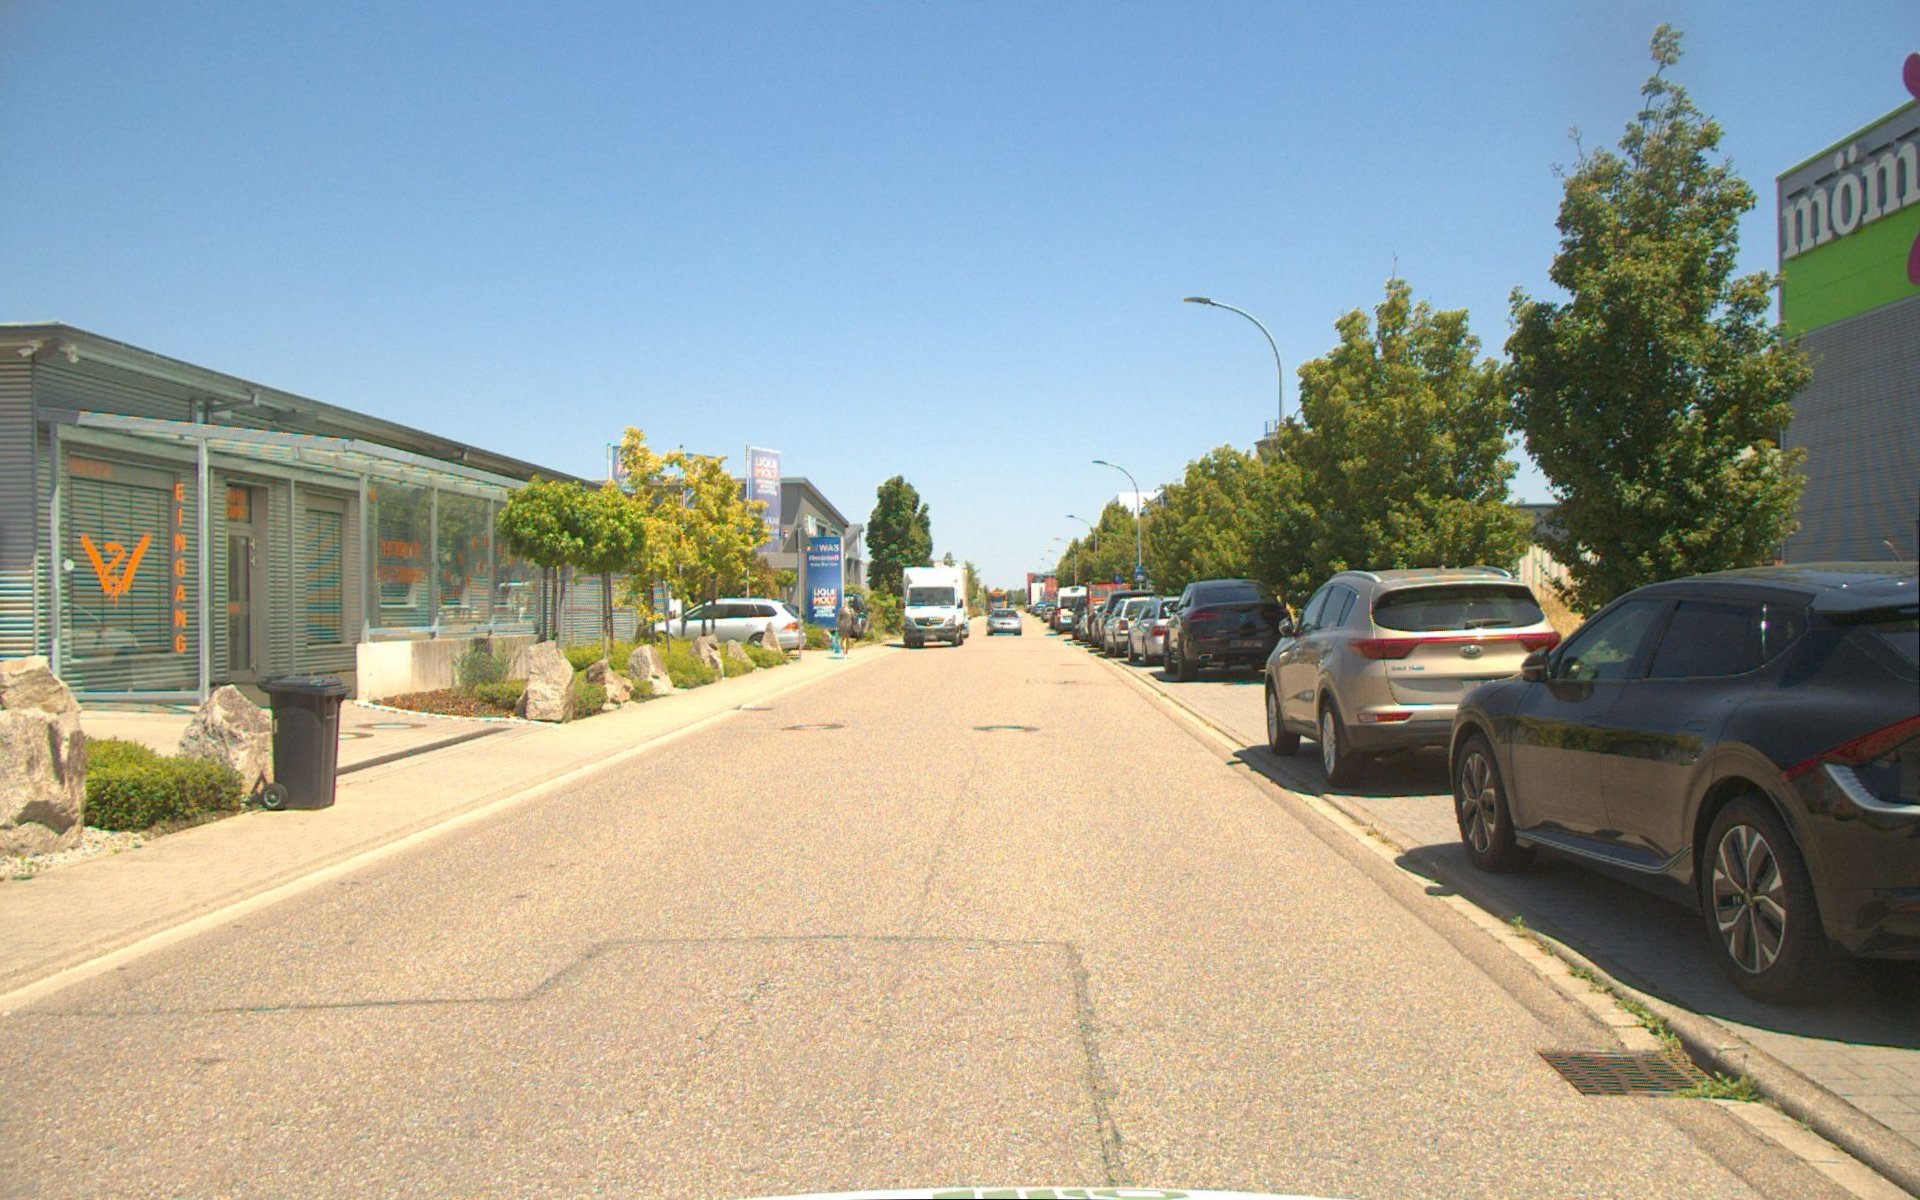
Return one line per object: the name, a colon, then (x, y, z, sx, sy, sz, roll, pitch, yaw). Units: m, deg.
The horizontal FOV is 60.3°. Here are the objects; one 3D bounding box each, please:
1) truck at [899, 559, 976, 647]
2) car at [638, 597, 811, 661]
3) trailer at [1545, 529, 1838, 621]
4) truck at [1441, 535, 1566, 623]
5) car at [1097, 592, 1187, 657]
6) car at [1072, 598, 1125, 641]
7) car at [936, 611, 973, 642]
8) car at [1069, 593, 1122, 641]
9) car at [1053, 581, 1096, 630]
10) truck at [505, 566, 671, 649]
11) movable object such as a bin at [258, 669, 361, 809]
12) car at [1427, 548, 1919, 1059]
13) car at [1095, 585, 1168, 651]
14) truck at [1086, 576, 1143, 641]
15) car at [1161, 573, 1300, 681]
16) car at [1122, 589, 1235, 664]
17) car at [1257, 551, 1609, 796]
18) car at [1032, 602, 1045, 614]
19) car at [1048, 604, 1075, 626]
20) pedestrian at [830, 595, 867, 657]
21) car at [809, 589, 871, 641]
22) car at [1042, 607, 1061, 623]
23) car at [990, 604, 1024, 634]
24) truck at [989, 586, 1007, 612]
truck: (-0.754, 0.126, 60.410, 2.313, 2.910, 6.417, -3, -1, 2)
car: (-6.056, 0.743, 42.906, 4.174, 1.544, 1.866, -1, 0, 1)
trailer: (34.222, -1.128, 77.750, 12.356, 3.943, 2.804, -1, -1, 2)
truck: (25.587, -0.942, 78.088, 4.957, 3.943, 2.805, -1, -1, 2)
car: (4.696, 0.608, 43.326, 1.679, 1.508, 4.772, -3, 0, -1)
car: (5.392, 0.756, 64.796, 1.703, 1.557, 4.000, -3, -1, 0)
car: (-0.262, 1.316, 82.356, 1.694, 1.484, 4.492, -1, -1, 2)
car: (5.746, 0.712, 70.658, 1.952, 1.917, 5.157, -2, -1, 2)
car: (6.338, 0.319, 91.875, 2.220, 2.541, 6.154, -2, 0, 4)
truck: (-17.070, 0.328, 75.711, 7.890, 3.619, 2.581, 0, 0, 31)
movable object such as a bin: (-4.745, 1.005, 12.090, 0.559, 0.966, 0.511, -1, 0, -4)
car: (3.751, 0.573, 7.339, 1.866, 1.555, 4.628, -3, 0, -2)
car: (5.024, 0.503, 48.882, 1.773, 1.755, 4.775, -3, 0, 2)
truck: (5.603, 0.315, 60.400, 1.644, 2.219, 4.391, -3, -1, 2)
car: (4.861, 0.447, 30.316, 1.908, 1.730, 4.546, -3, 0, 2)
car: (4.851, 0.557, 37.258, 1.768, 1.508, 4.772, -3, 0, -1)
car: (3.786, 0.522, 14.080, 1.767, 1.664, 4.459, -3, 0, 2)
car: (9.731, 1.046, 205.521, 1.552, 1.434, 3.501, -1, 0, 2)
car: (7.477, 1.090, 121.505, 1.673, 1.531, 4.709, -2, -1, 7)
pedestrian: (-2.940, 0.669, 43.615, 0.880, 1.602, 0.786, 1, 0, 3)
car: (-4.775, 0.596, 66.482, 1.952, 1.991, 5.219, -1, -1, 2)
car: (8.721, 1.397, 158.358, 1.682, 1.475, 3.647, -2, 0, 2)
car: (2.540, 1.019, 89.196, 1.746, 1.447, 4.414, -3, -1, 1)
truck: (5.451, -0.193, 238.834, 2.398, 3.574, 8.274, -2, 0, 2)
